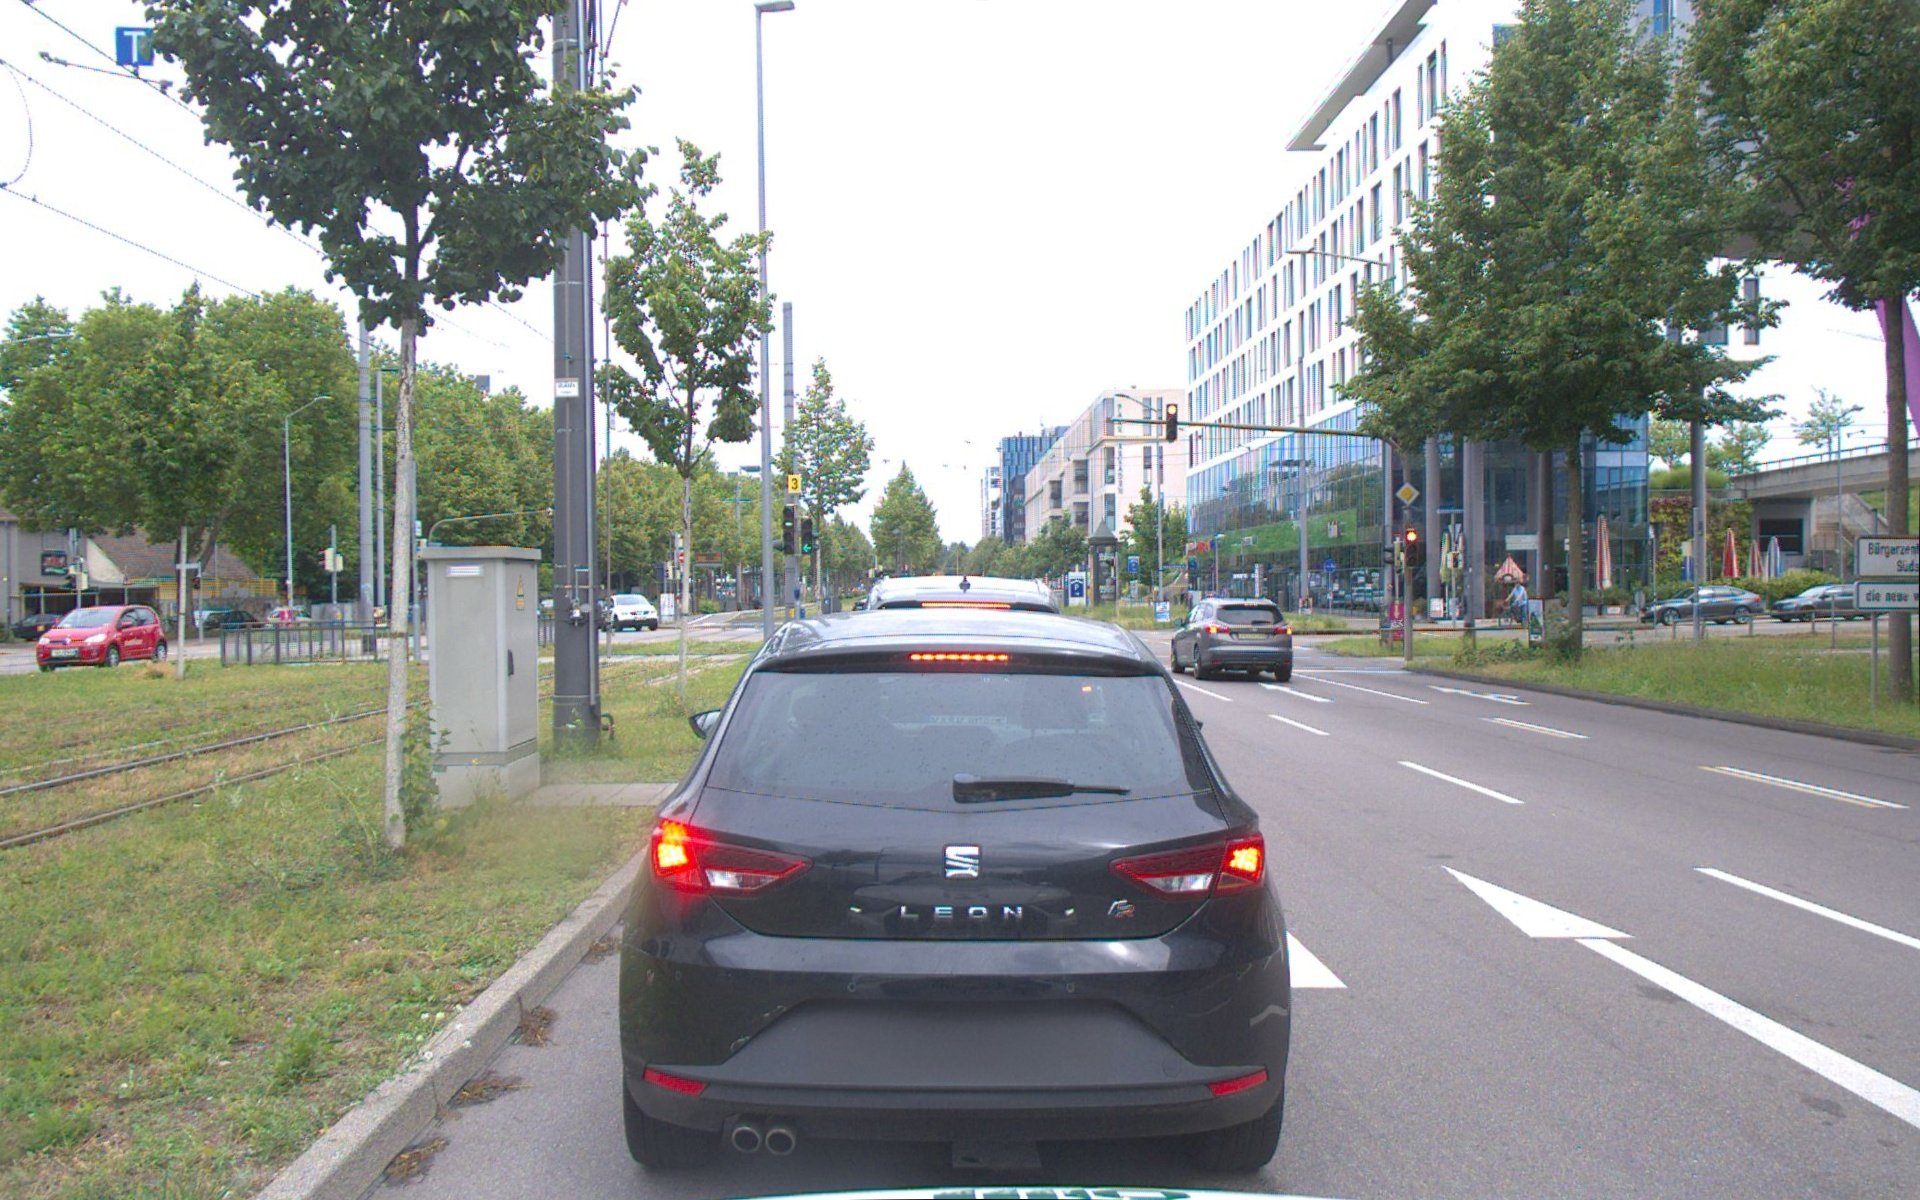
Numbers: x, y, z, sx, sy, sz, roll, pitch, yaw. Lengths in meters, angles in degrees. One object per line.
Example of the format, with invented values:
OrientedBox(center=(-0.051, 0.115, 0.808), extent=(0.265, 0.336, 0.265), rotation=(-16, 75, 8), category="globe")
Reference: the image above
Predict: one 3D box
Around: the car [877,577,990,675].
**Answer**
OrientedBox(center=(-0.432, 0.434, 31.118), extent=(1.952, 1.711, 4.001), rotation=(1, 1, 1), category="car")

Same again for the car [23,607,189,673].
OrientedBox(center=(-20.090, 0.893, 39.126), extent=(1.775, 1.401, 4.268), rotation=(-1, 0, -2), category="car")

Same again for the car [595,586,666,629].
OrientedBox(center=(-14.441, 0.305, 72.418), extent=(1.971, 1.780, 4.162), rotation=(-1, 0, -28), category="car")

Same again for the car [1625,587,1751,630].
OrientedBox(center=(28.515, 0.321, 64.872), extent=(4.163, 1.643, 1.758), rotation=(-1, 0, 1), category="car")

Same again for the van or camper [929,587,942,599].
OrientedBox(center=(-3.739, -1.094, 254.333), extent=(1.953, 1.643, 4.789), rotation=(0, 2, 0), category="van or camper")

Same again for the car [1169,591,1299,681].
OrientedBox(center=(5.148, 0.629, 31.571), extent=(1.712, 1.525, 4.268), rotation=(0, 1, -1), category="car")

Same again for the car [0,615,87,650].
OrientedBox(center=(-50.475, 1.778, 90.614), extent=(4.190, 1.847, 2.108), rotation=(-1, 0, 3), category="car")

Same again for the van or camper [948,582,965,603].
OrientedBox(center=(-0.450, -0.982, 204.987), extent=(2.066, 2.397, 4.923), rotation=(0, 2, 0), category="van or camper")

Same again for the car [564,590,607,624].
OrientedBox(center=(-20.119, 0.361, 88.958), extent=(1.957, 1.780, 3.992), rotation=(-1, 0, -9), category="car")

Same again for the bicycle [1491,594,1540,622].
OrientedBox(center=(22.364, 0.312, 66.614), extent=(1.755, 1.104, 0.618), rotation=(-1, 0, 1), category="bicycle")

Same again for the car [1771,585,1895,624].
OrientedBox(center=(34.422, 0.164, 65.282), extent=(3.996, 1.480, 1.758), rotation=(-1, 0, 1), category="car")

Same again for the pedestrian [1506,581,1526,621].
OrientedBox(center=(22.393, 0.037, 66.608), extent=(0.602, 1.632, 0.619), rotation=(-1, 0, 1), category="pedestrian")

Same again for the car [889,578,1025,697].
OrientedBox(center=(0.027, 0.524, 26.063), extent=(1.952, 1.711, 4.001), rotation=(1, 1, 2), category="car")

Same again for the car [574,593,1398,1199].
OrientedBox(center=(0.005, 0.717, 5.452), extent=(1.708, 1.442, 3.999), rotation=(1, 0, -2), category="car")

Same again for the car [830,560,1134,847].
OrientedBox(center=(0.101, 0.590, 11.679), extent=(1.766, 1.653, 3.999), rotation=(-1, 0, -1), category="car")
